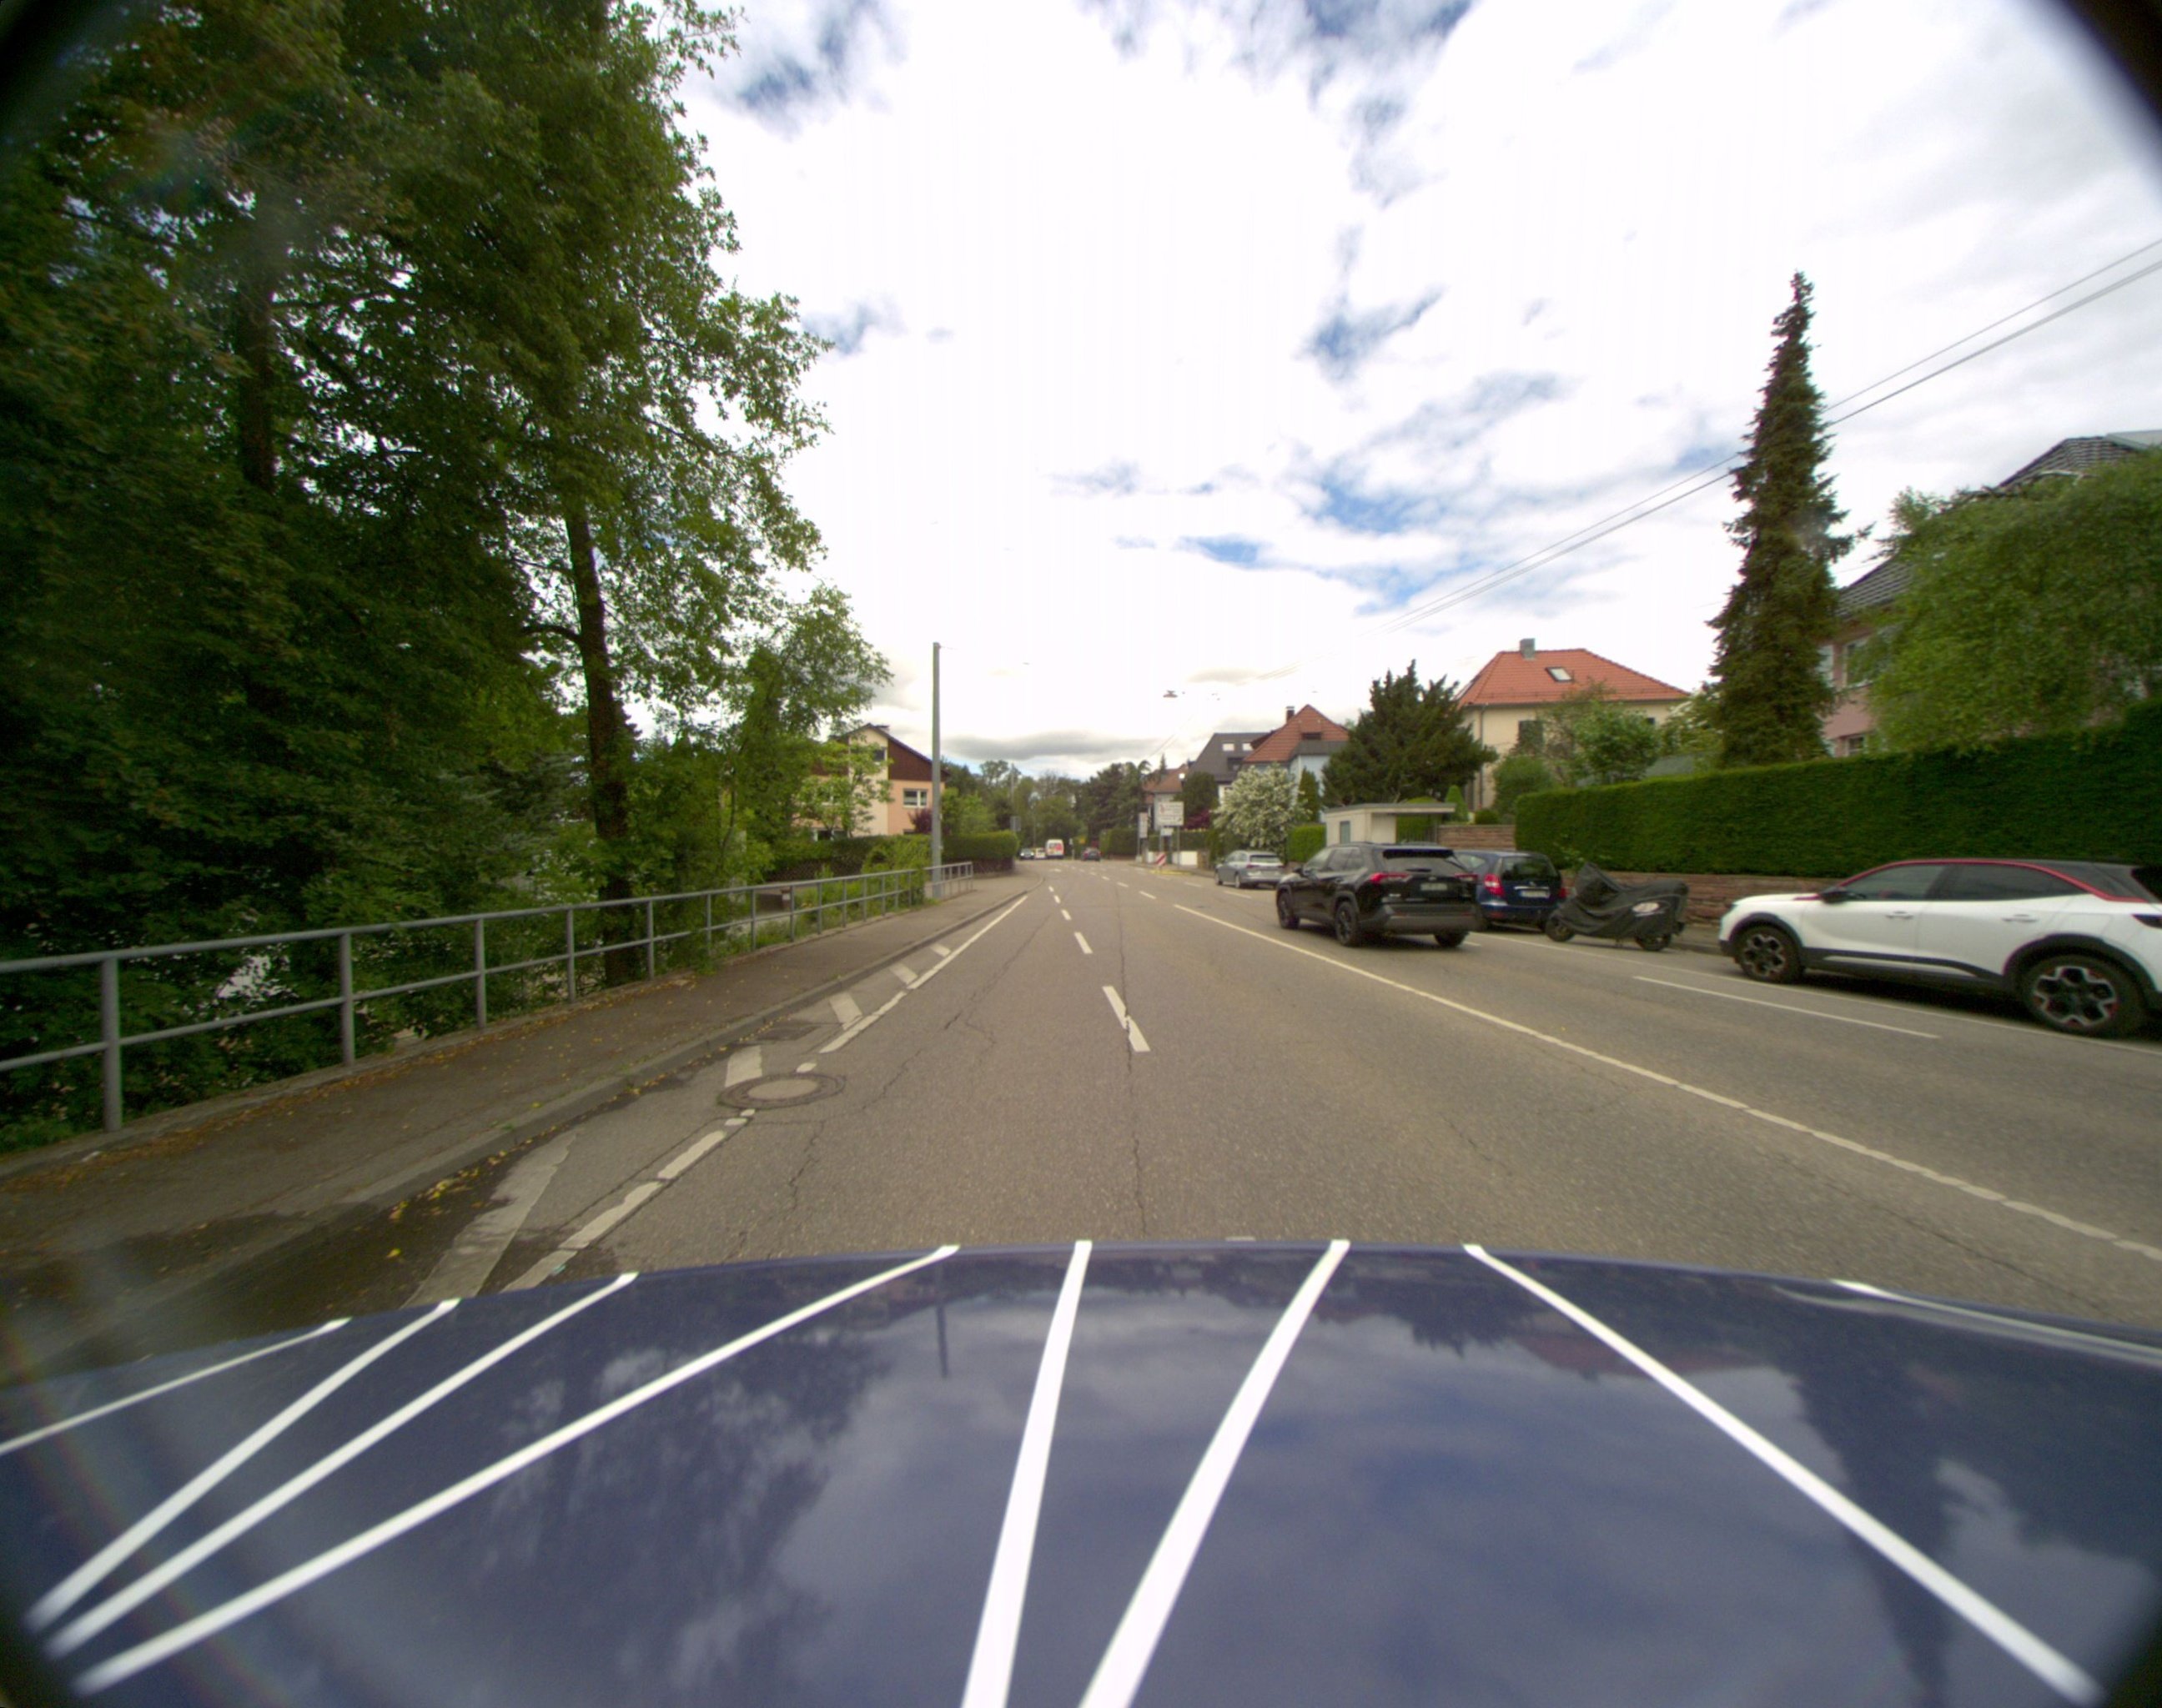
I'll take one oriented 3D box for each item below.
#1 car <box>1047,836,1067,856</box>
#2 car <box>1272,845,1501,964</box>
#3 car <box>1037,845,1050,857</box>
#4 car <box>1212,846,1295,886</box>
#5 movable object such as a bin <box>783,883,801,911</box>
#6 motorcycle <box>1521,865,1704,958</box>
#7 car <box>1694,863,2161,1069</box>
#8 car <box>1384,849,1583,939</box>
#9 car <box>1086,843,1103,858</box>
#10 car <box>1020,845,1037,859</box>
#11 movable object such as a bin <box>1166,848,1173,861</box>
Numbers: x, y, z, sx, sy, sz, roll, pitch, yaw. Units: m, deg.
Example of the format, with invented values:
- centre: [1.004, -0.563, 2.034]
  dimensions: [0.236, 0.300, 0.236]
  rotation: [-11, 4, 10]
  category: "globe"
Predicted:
- centre: [-3.062, -0.978, 96.184]
  dimensions: [2.118, 2.484, 6.120]
  rotation: [0, 1, -6]
  category: "car"
- centre: [4.864, 0.681, 12.848]
  dimensions: [1.848, 1.637, 4.210]
  rotation: [0, 1, -6]
  category: "car"
- centre: [-6.201, -0.472, 125.334]
  dimensions: [1.864, 2.035, 5.169]
  rotation: [0, 0, -7]
  category: "car"
- centre: [6.728, 0.432, 30.102]
  dimensions: [1.815, 1.447, 4.410]
  rotation: [1, 0, -7]
  category: "car"
- centre: [-10.865, 1.619, 28.598]
  dimensions: [0.541, 0.969, 0.507]
  rotation: [-4, 6, -26]
  category: "movable object such as a bin"
- centre: [8.460, 0.864, 12.249]
  dimensions: [0.890, 1.347, 2.302]
  rotation: [2, -1, -21]
  category: "motorcycle"
- centre: [8.965, 0.893, 7.756]
  dimensions: [1.895, 1.486, 4.024]
  rotation: [1, 0, -7]
  category: "car"
- centre: [8.072, 0.711, 15.699]
  dimensions: [1.684, 1.547, 3.968]
  rotation: [1, 1, -6]
  category: "car"
- centre: [1.354, -0.417, 79.657]
  dimensions: [1.738, 1.544, 4.447]
  rotation: [0, 1, 0]
  category: "car"
- centre: [-7.275, -0.291, 104.797]
  dimensions: [1.864, 1.855, 4.607]
  rotation: [0, 0, -9]
  category: "car"
- centre: [6.976, 0.037, 60.024]
  dimensions: [0.509, 0.968, 0.540]
  rotation: [0, 1, -3]
  category: "movable object such as a bin"
